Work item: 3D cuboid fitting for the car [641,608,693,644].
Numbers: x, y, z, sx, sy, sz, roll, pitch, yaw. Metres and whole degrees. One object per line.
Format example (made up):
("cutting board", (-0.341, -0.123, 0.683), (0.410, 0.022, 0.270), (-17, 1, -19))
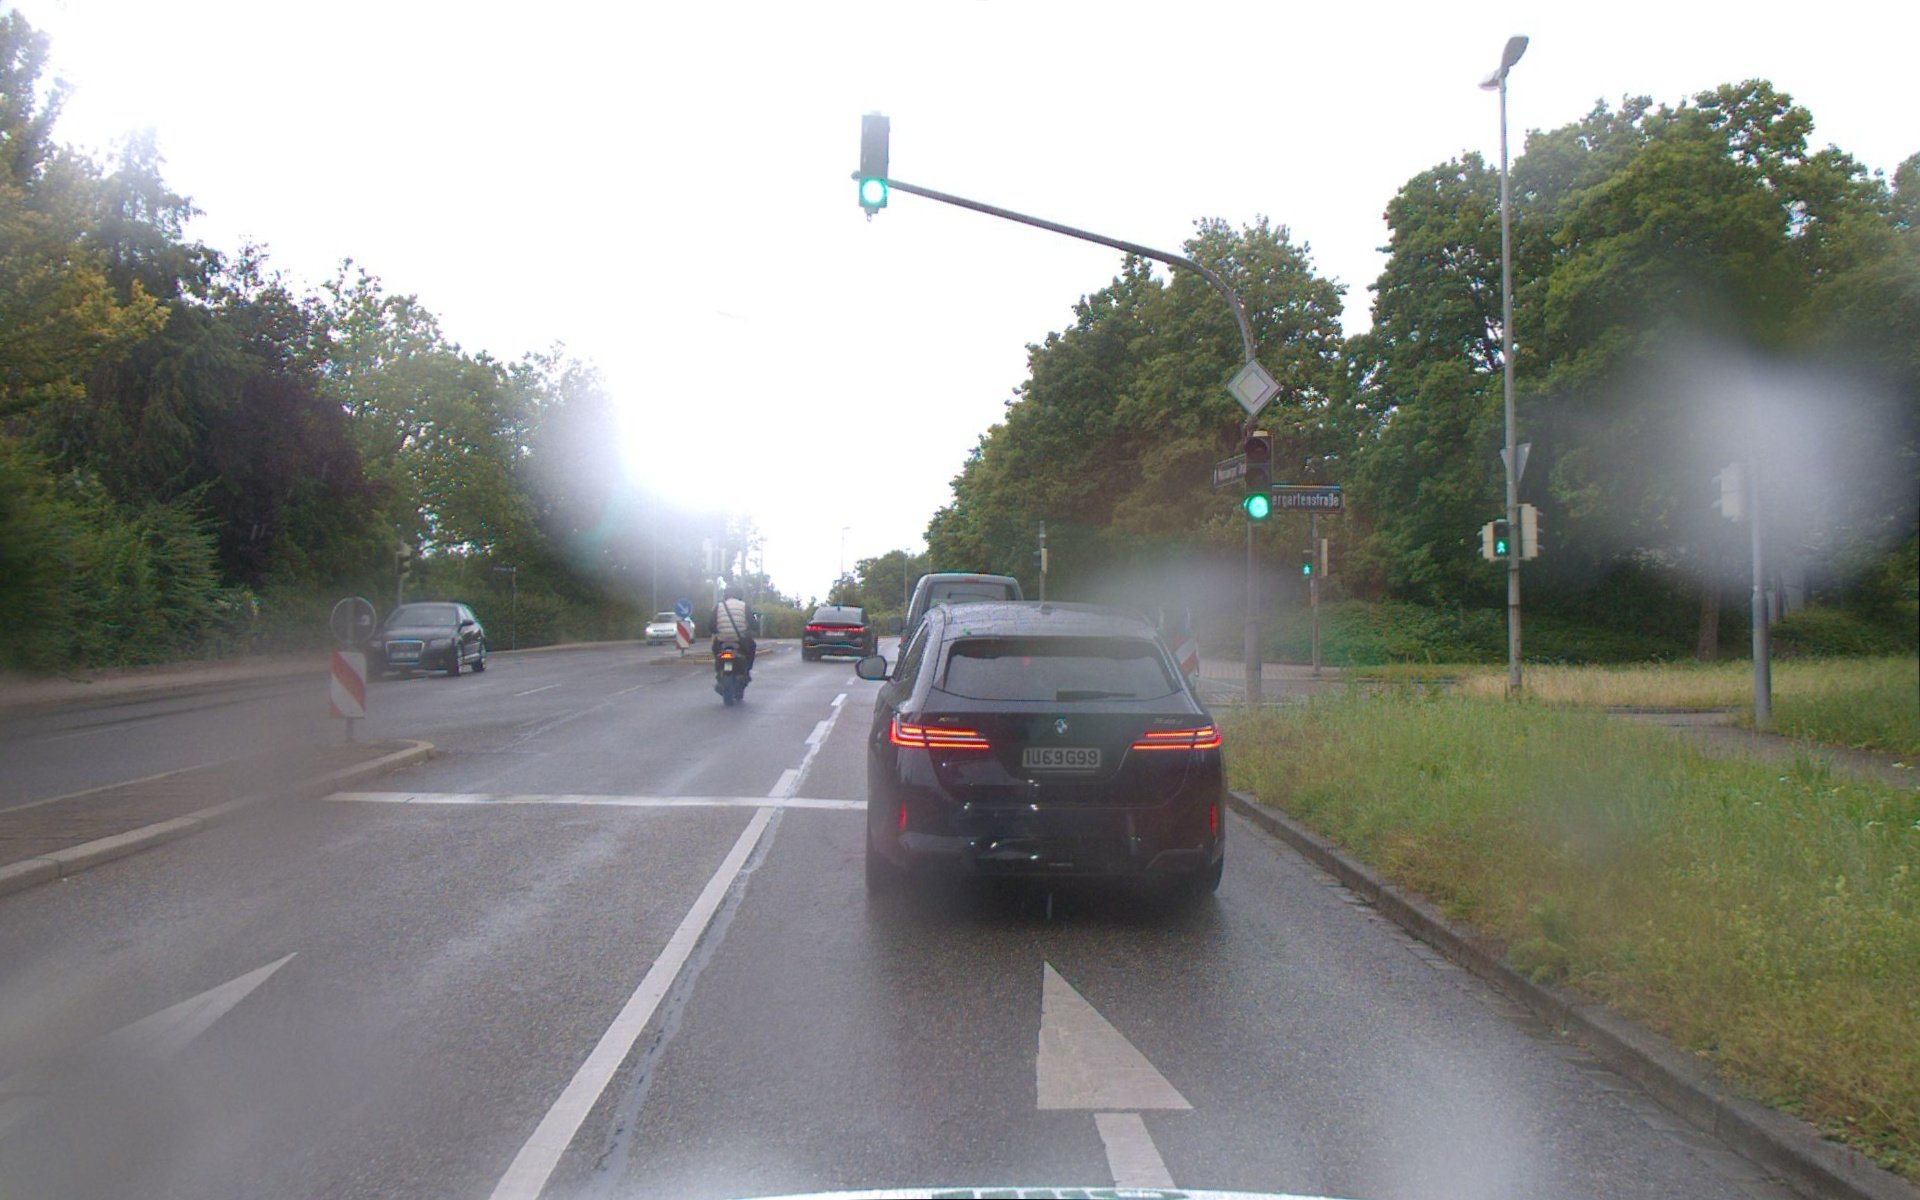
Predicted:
("car", (-13.225, 1.138, 74.764), (1.693, 1.511, 4.155), (-1, 0, -2))

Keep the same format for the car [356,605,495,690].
("car", (-10.386, 0.872, 32.392), (1.827, 1.519, 3.828), (0, 0, -6))

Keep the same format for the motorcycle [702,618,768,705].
("motorcycle", (-3.151, 0.844, 23.246), (0.726, 1.139, 1.426), (1, 0, -1))

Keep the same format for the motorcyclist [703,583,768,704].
("motorcyclist", (-3.152, 0.608, 23.241), (0.828, 1.676, 0.467), (1, 0, -1))

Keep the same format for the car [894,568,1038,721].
("car", (0.049, 0.535, 22.269), (1.731, 1.841, 3.904), (1, 0, -1))

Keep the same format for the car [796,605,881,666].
("car", (-3.197, 0.907, 44.236), (1.974, 1.440, 4.485), (1, 0, -1))

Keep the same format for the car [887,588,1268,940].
("car", (0.515, 0.747, 9.471), (1.728, 1.563, 3.672), (1, 1, -1))
